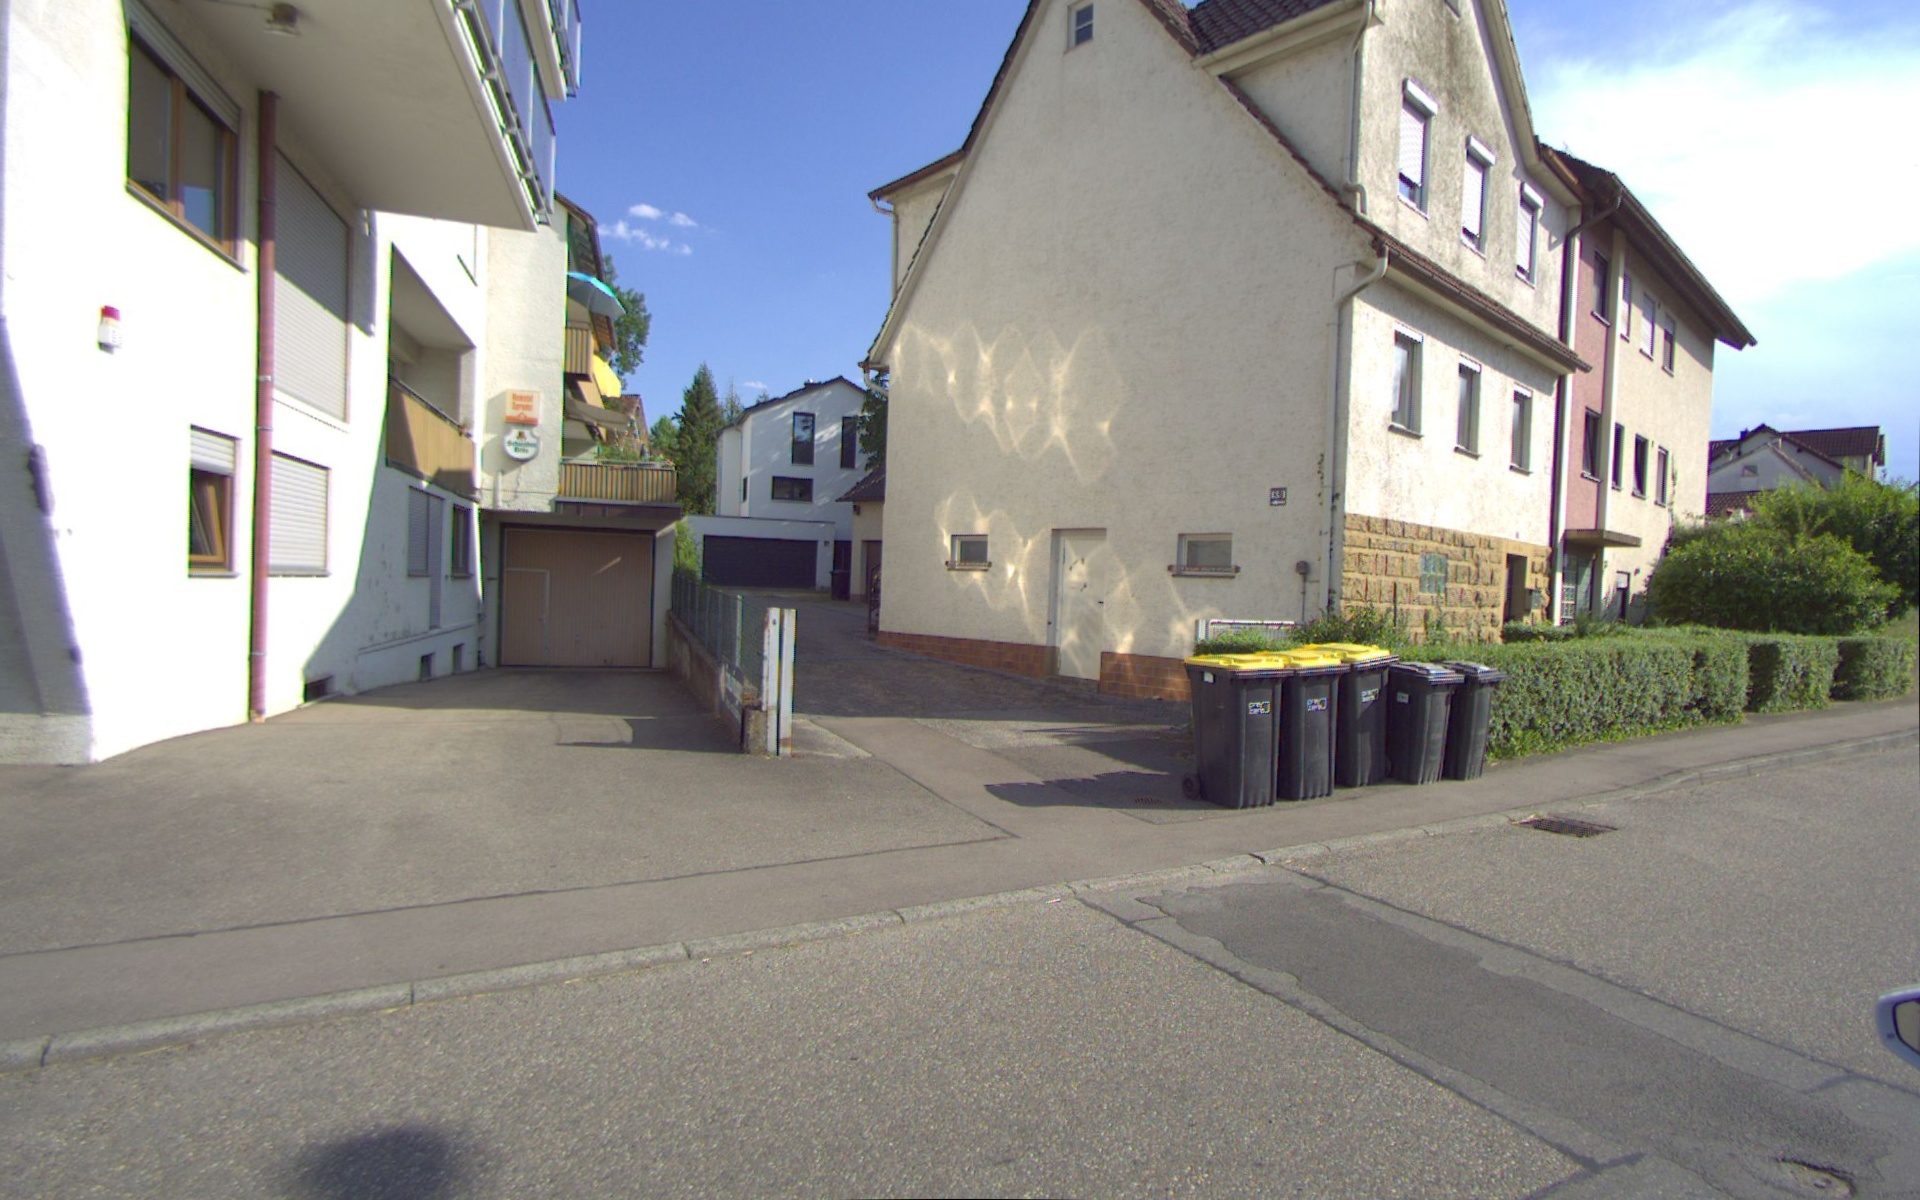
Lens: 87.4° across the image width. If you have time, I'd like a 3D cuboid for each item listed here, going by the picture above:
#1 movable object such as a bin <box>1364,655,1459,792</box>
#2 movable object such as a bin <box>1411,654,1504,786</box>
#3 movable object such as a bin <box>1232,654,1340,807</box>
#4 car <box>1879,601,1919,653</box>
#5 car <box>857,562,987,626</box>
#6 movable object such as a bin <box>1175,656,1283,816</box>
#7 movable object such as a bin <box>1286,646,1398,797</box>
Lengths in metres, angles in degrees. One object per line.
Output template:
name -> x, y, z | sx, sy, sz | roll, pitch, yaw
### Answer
movable object such as a bin -> 3.660, 0.978, 8.155 | 0.452, 1.036, 0.529 | 1, -1, -29
movable object such as a bin -> 4.137, 0.974, 8.357 | 0.452, 1.036, 0.529 | 1, -1, -29
movable object such as a bin -> 2.509, 0.979, 7.756 | 0.523, 1.098, 0.585 | 1, -1, -29
car -> 26.822, 0.764, 27.883 | 3.165, 1.390, 1.349 | 2, -1, -36
car -> -0.816, -0.131, 23.565 | 1.404, 1.380, 3.473 | 2, 1, 29
movable object such as a bin -> 1.983, 0.974, 7.435 | 0.502, 1.098, 0.585 | 1, -1, -29
movable object such as a bin -> 3.067, 0.945, 8.073 | 0.610, 1.137, 0.585 | 1, -1, -29
